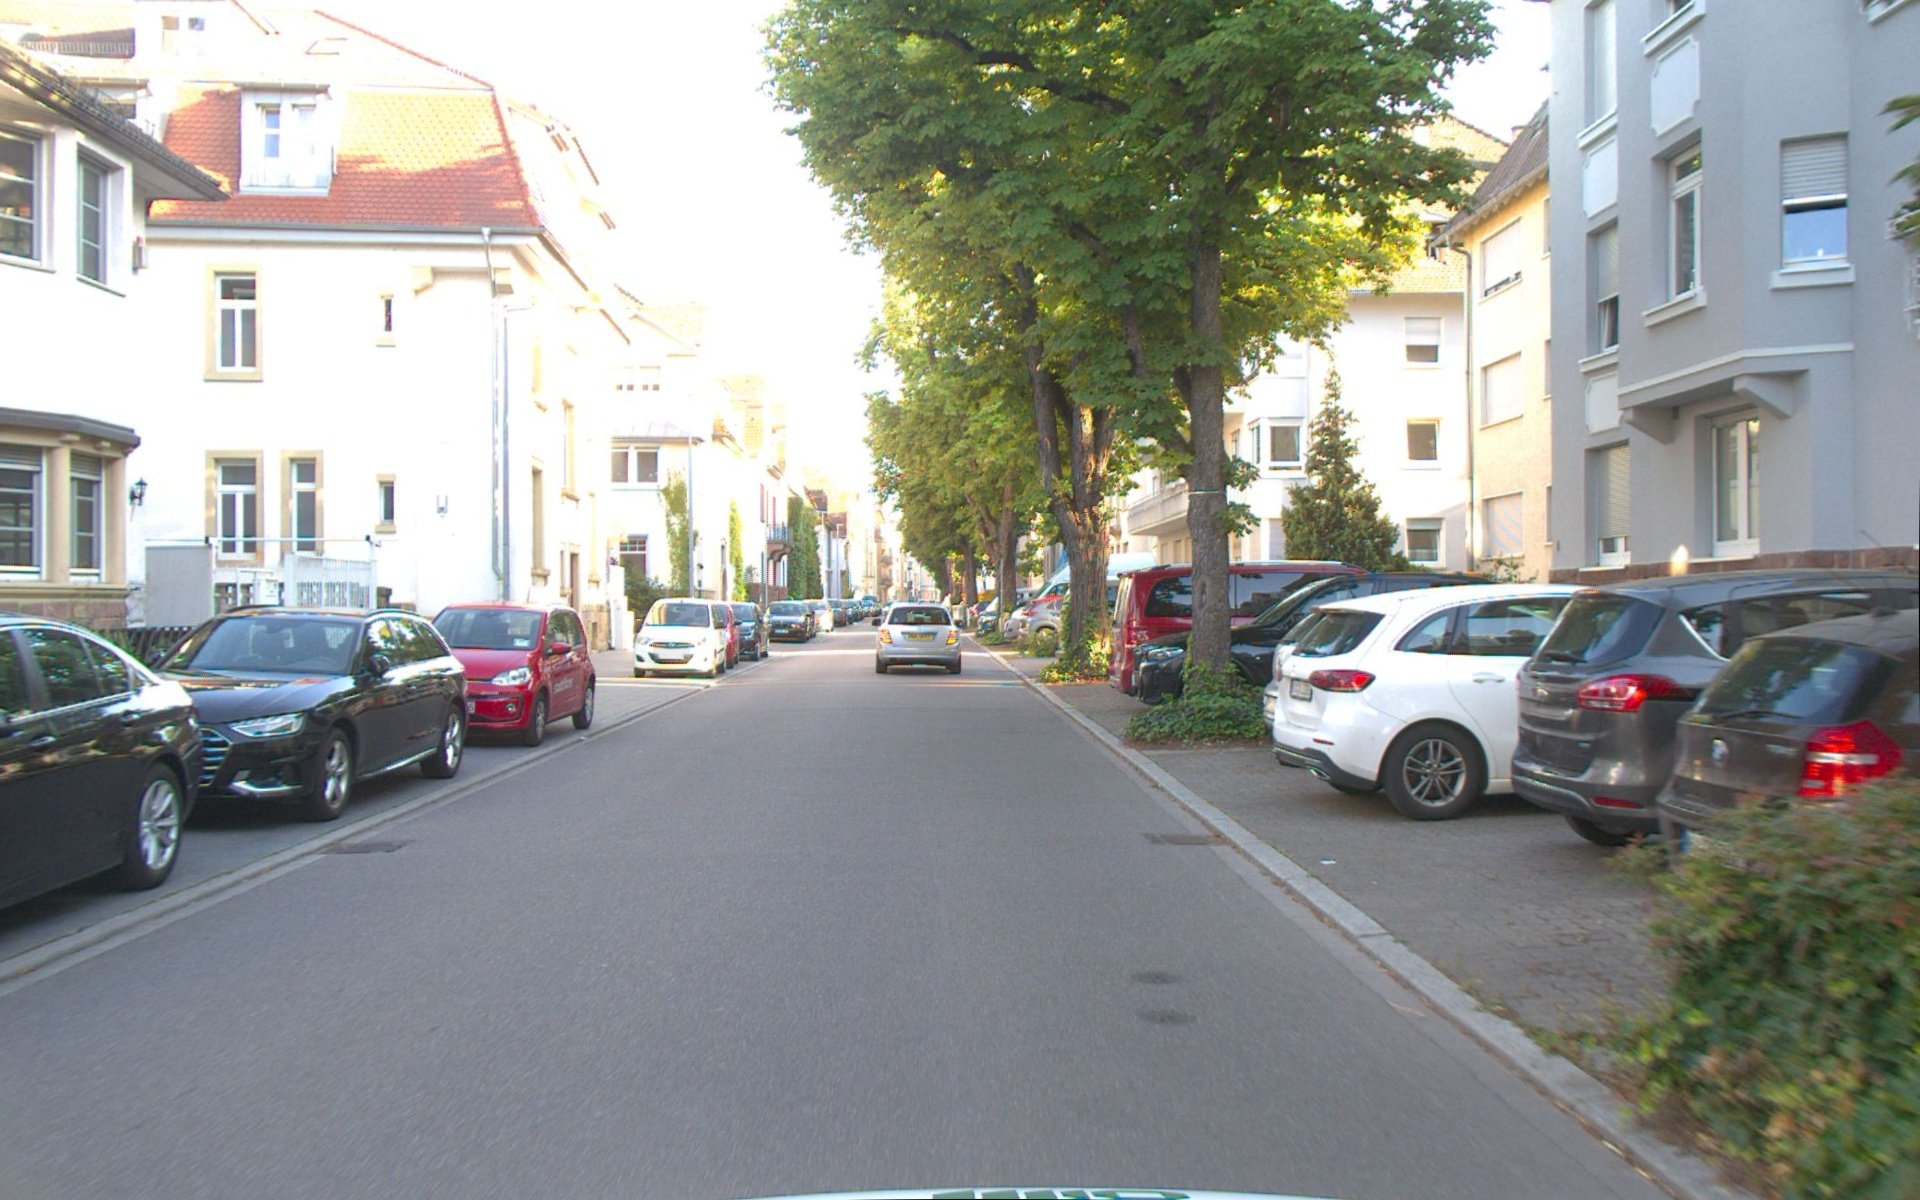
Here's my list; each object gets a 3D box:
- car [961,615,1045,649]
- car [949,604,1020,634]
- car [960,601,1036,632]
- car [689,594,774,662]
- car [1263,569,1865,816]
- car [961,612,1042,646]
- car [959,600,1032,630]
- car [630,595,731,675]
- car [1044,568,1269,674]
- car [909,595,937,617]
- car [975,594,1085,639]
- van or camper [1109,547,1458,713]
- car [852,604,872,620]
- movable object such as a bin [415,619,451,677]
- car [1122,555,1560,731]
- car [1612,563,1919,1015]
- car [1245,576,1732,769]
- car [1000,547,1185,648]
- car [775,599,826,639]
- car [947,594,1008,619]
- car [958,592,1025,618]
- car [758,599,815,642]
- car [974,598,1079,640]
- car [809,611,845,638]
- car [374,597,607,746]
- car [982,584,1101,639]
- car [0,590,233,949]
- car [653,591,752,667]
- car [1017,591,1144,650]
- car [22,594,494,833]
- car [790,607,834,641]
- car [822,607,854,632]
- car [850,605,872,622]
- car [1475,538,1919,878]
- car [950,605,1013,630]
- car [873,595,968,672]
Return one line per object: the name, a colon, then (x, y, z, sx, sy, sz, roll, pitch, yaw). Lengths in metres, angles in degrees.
car: (1.956, 1.451, 75.460, 3.766, 1.508, 1.805, 0, 0, -1)
car: (1.291, 1.007, 88.303, 3.766, 1.508, 1.805, 0, 0, -1)
car: (1.873, 0.802, 82.609, 3.766, 1.508, 1.805, 0, 0, -1)
car: (-5.881, 0.686, 42.893, 1.763, 1.673, 3.856, 0, 0, -2)
car: (4.182, 0.612, 11.836, 3.656, 1.585, 1.724, -1, 0, -3)
car: (1.938, 1.356, 78.216, 3.766, 1.508, 1.805, 0, 0, -1)
car: (1.815, 0.786, 86.052, 3.766, 1.508, 1.805, 0, 0, -1)
car: (-5.632, 0.695, 33.663, 1.626, 1.526, 3.751, 0, -1, -3)
car: (3.746, 0.382, 31.961, 4.047, 1.955, 1.890, 0, 0, -4)
car: (-2.558, 0.445, 114.305, 1.779, 1.499, 4.216, 0, -1, 1)
car: (2.445, 0.564, 58.169, 3.766, 1.508, 1.805, 0, 0, -1)
van or camper: (4.151, 0.370, 21.761, 4.224, 2.049, 2.000, 0, 0, 1)
car: (-8.952, 1.111, 151.151, 1.763, 1.411, 3.605, 0, 0, -2)
movable object such as a bin: (-10.307, 0.935, 32.353, 0.517, 1.127, 0.589, 0, -2, -2)
car: (4.229, 0.473, 18.876, 4.532, 1.869, 1.953, 0, 0, -2)
car: (4.876, 0.635, 6.634, 3.844, 1.585, 1.726, -1, 0, 1)
car: (4.586, 0.611, 14.660, 3.738, 1.595, 1.741, 0, 0, -6)
car: (4.063, -0.091, 51.350, 5.432, 3.020, 2.470, 0, 0, -4)
car: (-6.403, 0.740, 66.559, 1.763, 1.508, 3.856, 0, 0, -2)
car: (1.100, 0.387, 103.168, 3.766, 1.508, 1.805, 0, 0, -1)
car: (1.798, 0.278, 95.320, 3.766, 1.508, 1.805, 0, 0, -1)
car: (-6.378, 0.722, 61.173, 1.763, 1.508, 3.856, 0, 0, -2)
car: (2.413, 0.677, 60.724, 3.766, 1.508, 1.805, 0, 0, -1)
car: (-7.325, 1.342, 91.205, 1.763, 1.411, 3.605, 0, 0, -2)
car: (-5.190, 0.745, 18.758, 1.625, 1.514, 3.752, 0, -1, -1)
car: (3.145, 0.433, 64.484, 4.429, 2.049, 2.250, 0, 0, -3)
car: (-5.001, 0.718, 7.284, 1.817, 1.524, 4.651, 0, -1, -4)
car: (-5.936, 0.682, 38.528, 1.763, 1.673, 3.855, 0, -1, -2)
car: (3.487, 0.583, 48.320, 3.523, 1.689, 1.649, 0, 0, -4)
car: (-5.164, 0.752, 12.965, 1.747, 1.524, 4.698, 0, -1, -1)
car: (-6.857, 1.105, 77.034, 1.763, 1.508, 3.856, 0, 0, -2)
car: (-7.419, 1.178, 100.964, 1.763, 1.411, 3.605, 0, 0, -2)
car: (-8.485, 1.182, 142.341, 1.763, 1.411, 3.605, 0, 0, -2)
car: (4.892, 0.532, 9.225, 3.476, 1.683, 1.724, -1, 0, -3)
car: (1.274, 1.054, 100.378, 3.766, 1.508, 1.805, 0, 0, -1)
car: (-0.768, 0.693, 34.615, 1.779, 1.499, 4.216, 0, -1, 1)
